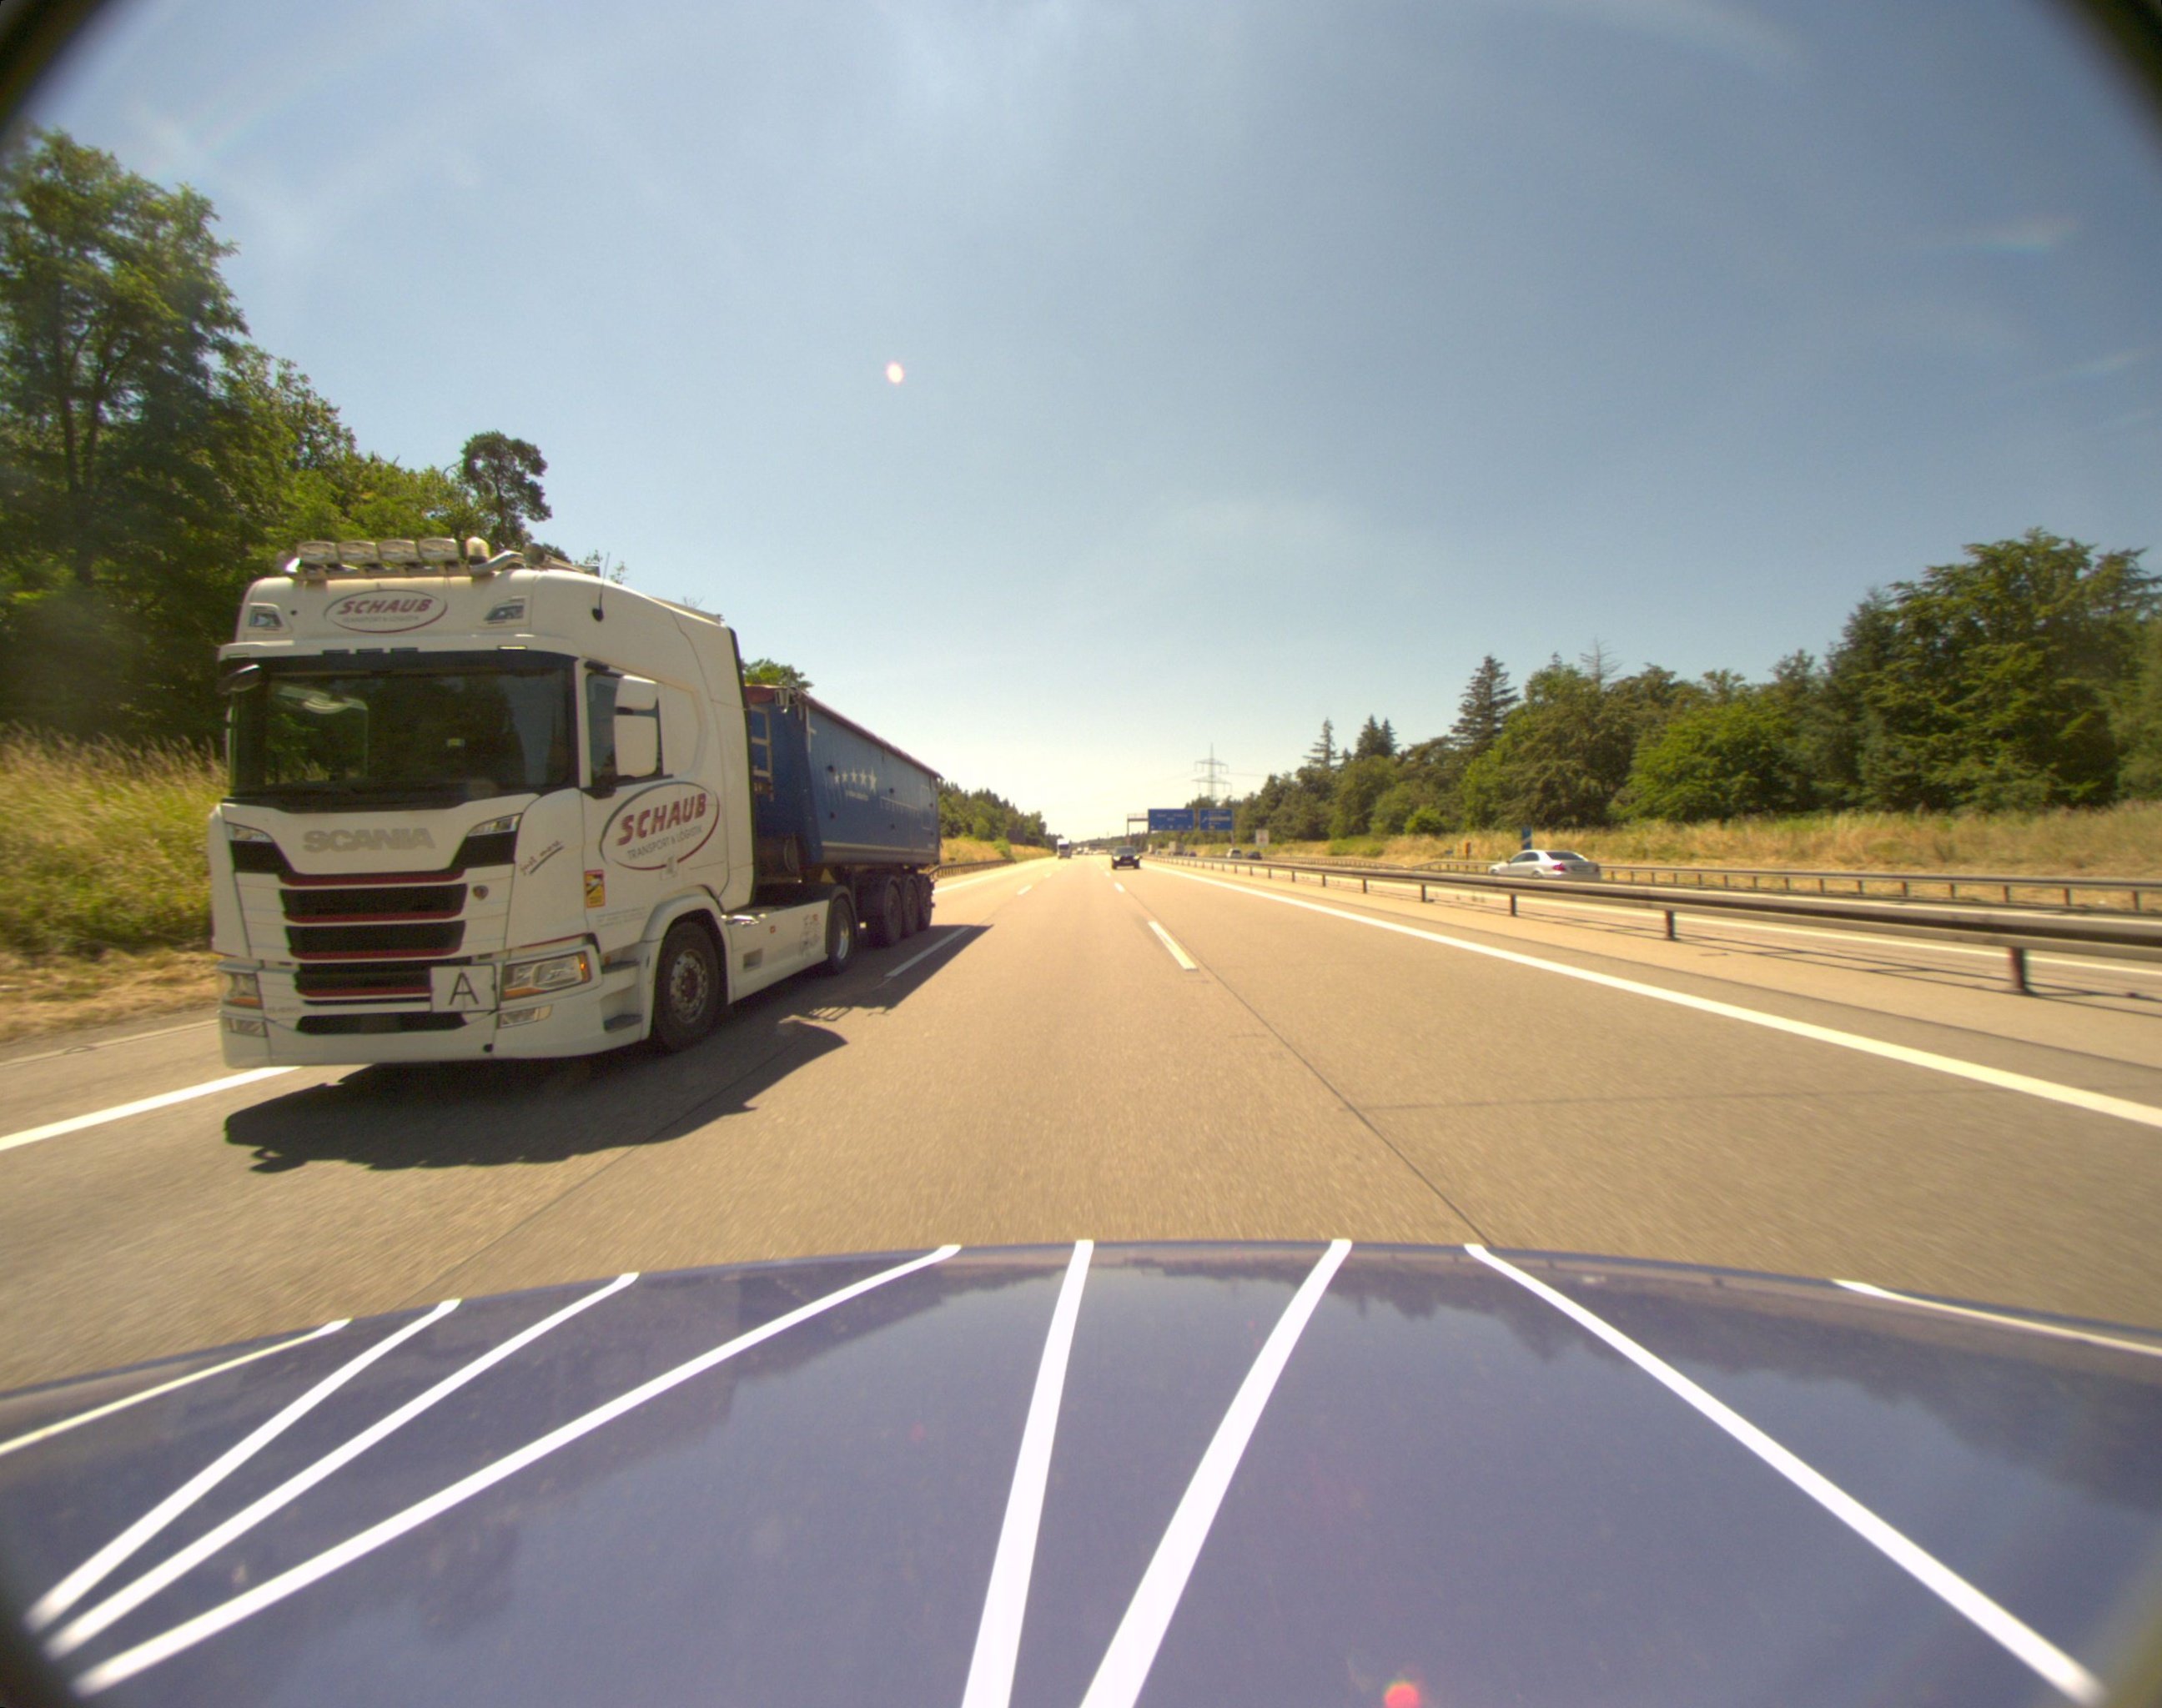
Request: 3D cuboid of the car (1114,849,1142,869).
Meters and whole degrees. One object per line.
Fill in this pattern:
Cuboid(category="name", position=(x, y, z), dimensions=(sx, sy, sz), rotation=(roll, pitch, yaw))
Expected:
Cuboid(category="car", position=(3.524, 0.348, 57.612), dimensions=(1.898, 1.417, 4.262), rotation=(-2, 0, 2))

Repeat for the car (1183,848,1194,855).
Cuboid(category="car", position=(27.288, -0.609, 192.513), dimensions=(2.091, 1.455, 4.940), rotation=(-1, 3, 1))

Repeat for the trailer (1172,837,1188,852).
Cuboid(category="trailer", position=(28.058, -2.641, 215.206), dimensions=(3.176, 3.908, 13.964), rotation=(-2, 1, 2))

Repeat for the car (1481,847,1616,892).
Cuboid(category="car", position=(17.201, 0.503, 28.339), dimensions=(1.856, 1.519, 5.204), rotation=(0, 1, 1))

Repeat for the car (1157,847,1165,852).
Cuboid(category="car", position=(27.560, -1.557, 261.950), dimensions=(1.998, 1.739, 4.990), rotation=(-2, 1, 0))

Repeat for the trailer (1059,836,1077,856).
Cuboid(category="trailer", position=(-2.661, -1.613, 159.874), dimensions=(2.982, 4.118, 11.697), rotation=(-1, 0, 2))

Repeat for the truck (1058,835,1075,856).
Cuboid(category="truck", position=(-2.868, -1.641, 154.519), dimensions=(2.979, 4.118, 5.349), rotation=(-1, 0, 3))

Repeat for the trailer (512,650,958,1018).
Cuboid(category="trailer", position=(-4.323, -0.194, 12.403), dimensions=(2.743, 3.736, 9.110), rotation=(-1, 0, 2))

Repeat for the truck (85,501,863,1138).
Cuboid(category="truck", position=(-4.482, -0.187, 7.508), dimensions=(2.691, 3.736, 5.944), rotation=(-1, 0, 2))

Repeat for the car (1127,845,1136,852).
Cuboid(category="car", position=(14.503, -1.512, 218.864), dimensions=(2.285, 1.929, 4.942), rotation=(-1, 0, 1))

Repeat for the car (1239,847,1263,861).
Cuboid(category="car", position=(22.098, -0.016, 98.932), dimensions=(1.998, 1.694, 4.979), rotation=(1, 1, 0))

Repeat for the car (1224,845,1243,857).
Cuboid(category="car", position=(23.815, -0.414, 118.923), dimensions=(1.998, 1.817, 4.642), rotation=(1, 1, 0))

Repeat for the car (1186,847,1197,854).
Cuboid(category="car", position=(25.312, -0.826, 174.214), dimensions=(1.931, 1.455, 4.942), rotation=(-1, 0, 1))
